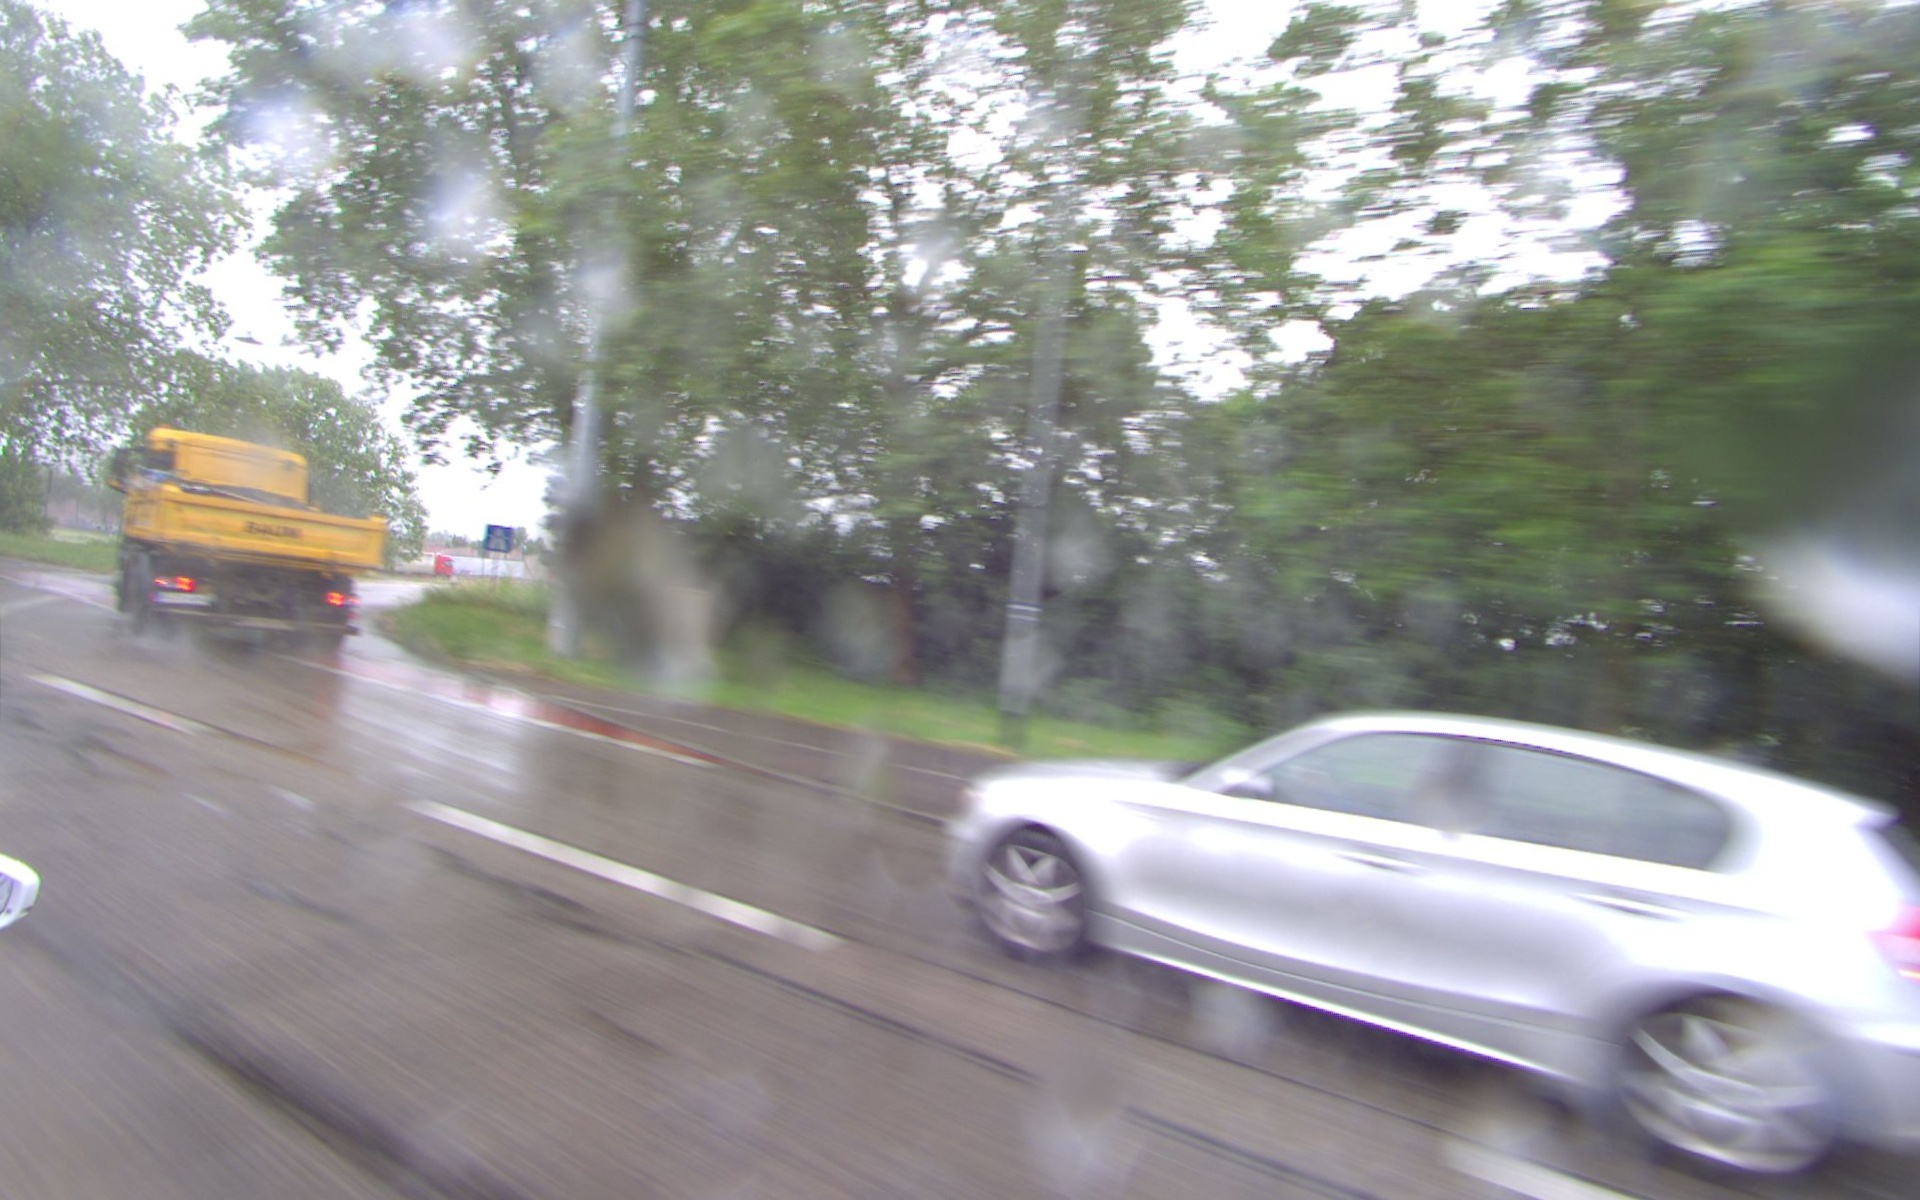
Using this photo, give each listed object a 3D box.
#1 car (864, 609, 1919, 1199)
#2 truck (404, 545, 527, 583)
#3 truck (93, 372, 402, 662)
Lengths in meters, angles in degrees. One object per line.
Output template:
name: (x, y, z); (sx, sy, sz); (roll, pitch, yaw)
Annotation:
car: (1.954, 1.141, 4.647); (4.528, 1.520, 1.630); (8, -1, 30)
truck: (-75.851, -5.514, 154.536); (16.582, 4.212, 3.266); (5, 1, -30)
truck: (-11.177, -1.222, 15.445); (2.550, 3.295, 6.845); (9, -2, -44)
